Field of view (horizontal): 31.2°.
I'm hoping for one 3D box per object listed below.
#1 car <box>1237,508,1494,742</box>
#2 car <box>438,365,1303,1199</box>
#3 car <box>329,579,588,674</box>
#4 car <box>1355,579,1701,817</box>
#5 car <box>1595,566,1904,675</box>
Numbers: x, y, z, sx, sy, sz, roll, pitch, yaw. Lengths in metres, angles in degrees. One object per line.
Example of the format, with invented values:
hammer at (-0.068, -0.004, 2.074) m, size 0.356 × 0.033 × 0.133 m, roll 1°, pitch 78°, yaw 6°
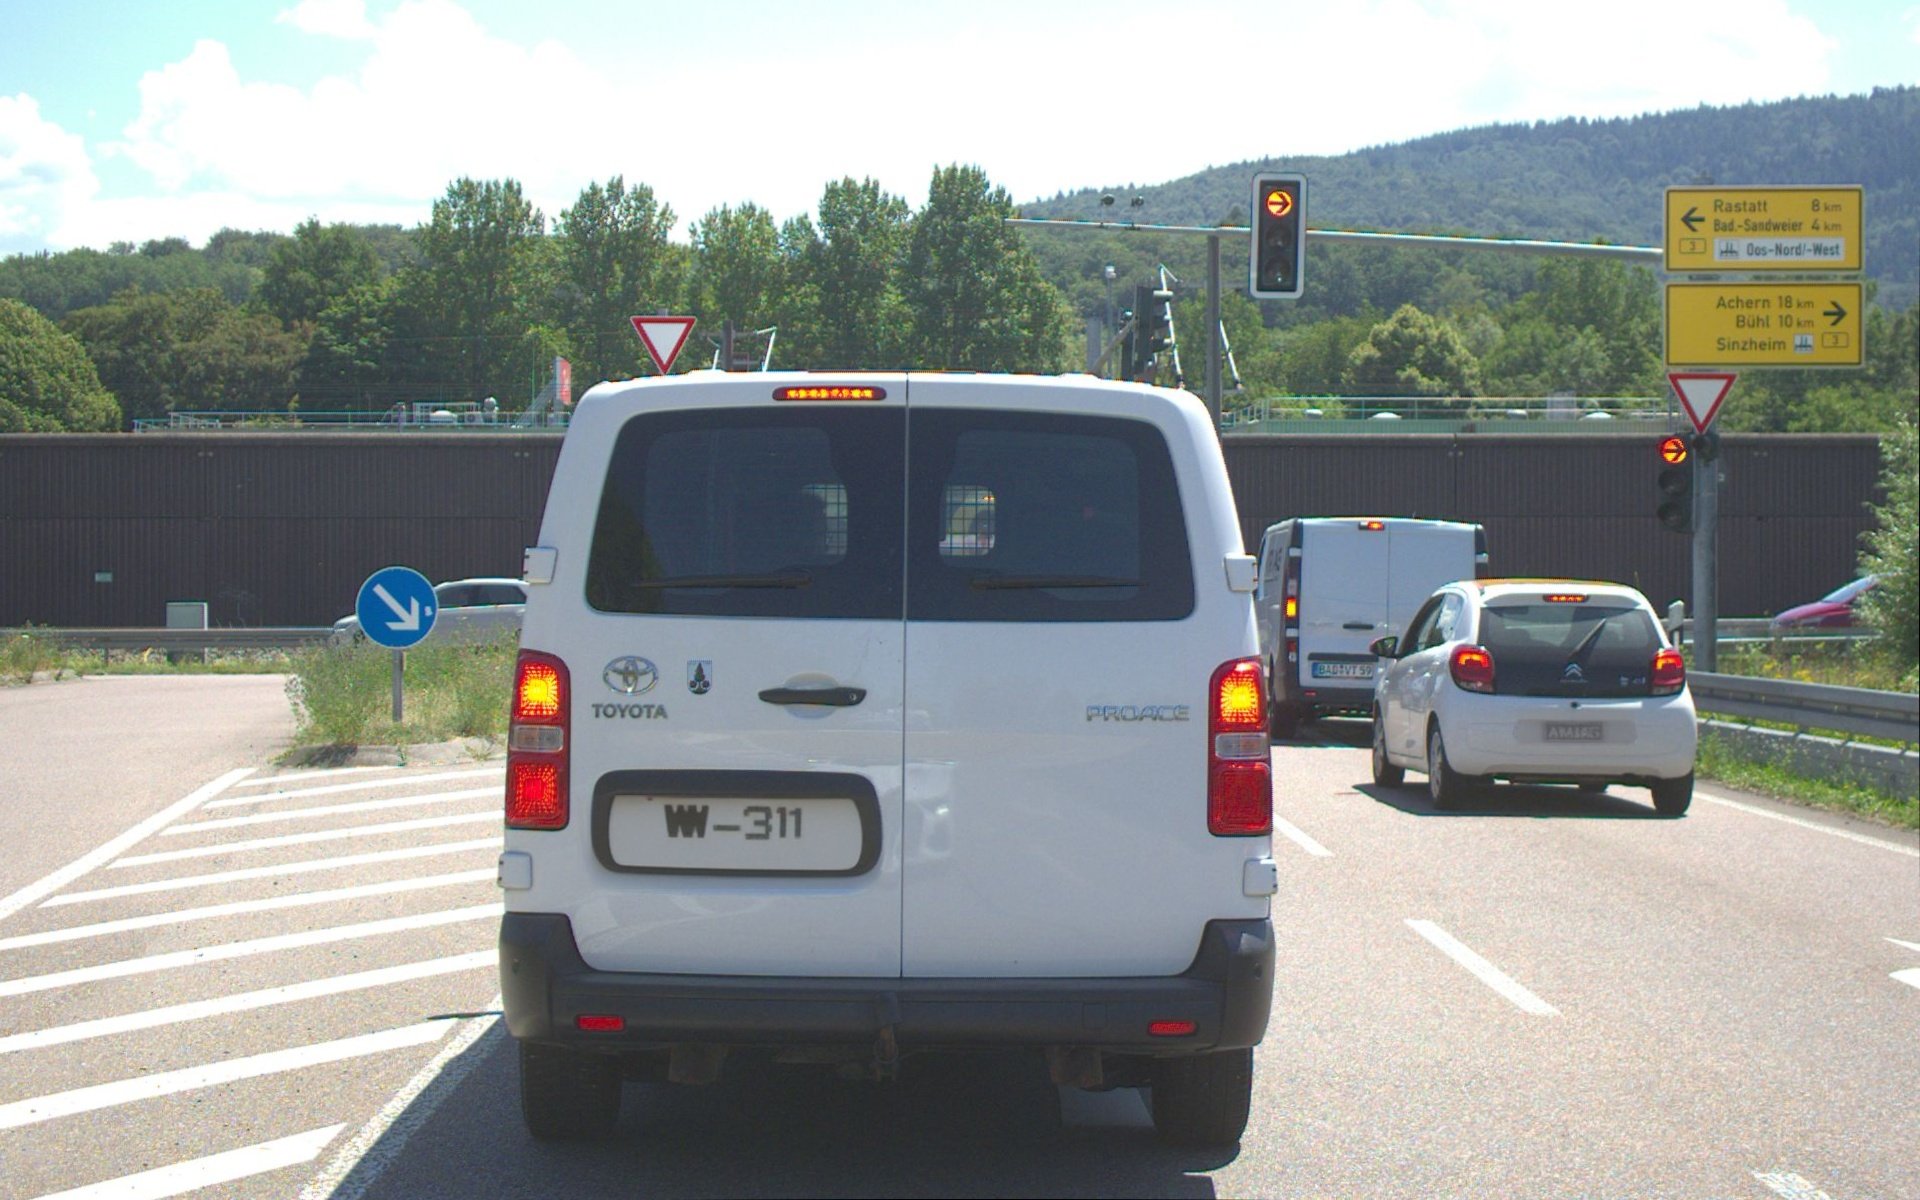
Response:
car at (3.699, 0.199, 32.132) m, size 1.928 × 1.993 × 4.837 m, roll 1°, pitch 0°, yaw 2°
car at (-0.223, 0.420, 9.604) m, size 1.886 × 1.880 × 4.000 m, roll 1°, pitch 0°, yaw -1°
car at (-8.135, 0.422, 56.062) m, size 3.986 × 1.480 × 2.000 m, roll 1°, pitch 0°, yaw -2°
car at (3.652, 0.586, 22.611) m, size 1.656 × 1.426 × 3.366 m, roll 1°, pitch 0°, yaw -1°
car at (12.287, 0.306, 53.689) m, size 4.309 × 1.651 × 2.000 m, roll 0°, pitch 0°, yaw -3°
